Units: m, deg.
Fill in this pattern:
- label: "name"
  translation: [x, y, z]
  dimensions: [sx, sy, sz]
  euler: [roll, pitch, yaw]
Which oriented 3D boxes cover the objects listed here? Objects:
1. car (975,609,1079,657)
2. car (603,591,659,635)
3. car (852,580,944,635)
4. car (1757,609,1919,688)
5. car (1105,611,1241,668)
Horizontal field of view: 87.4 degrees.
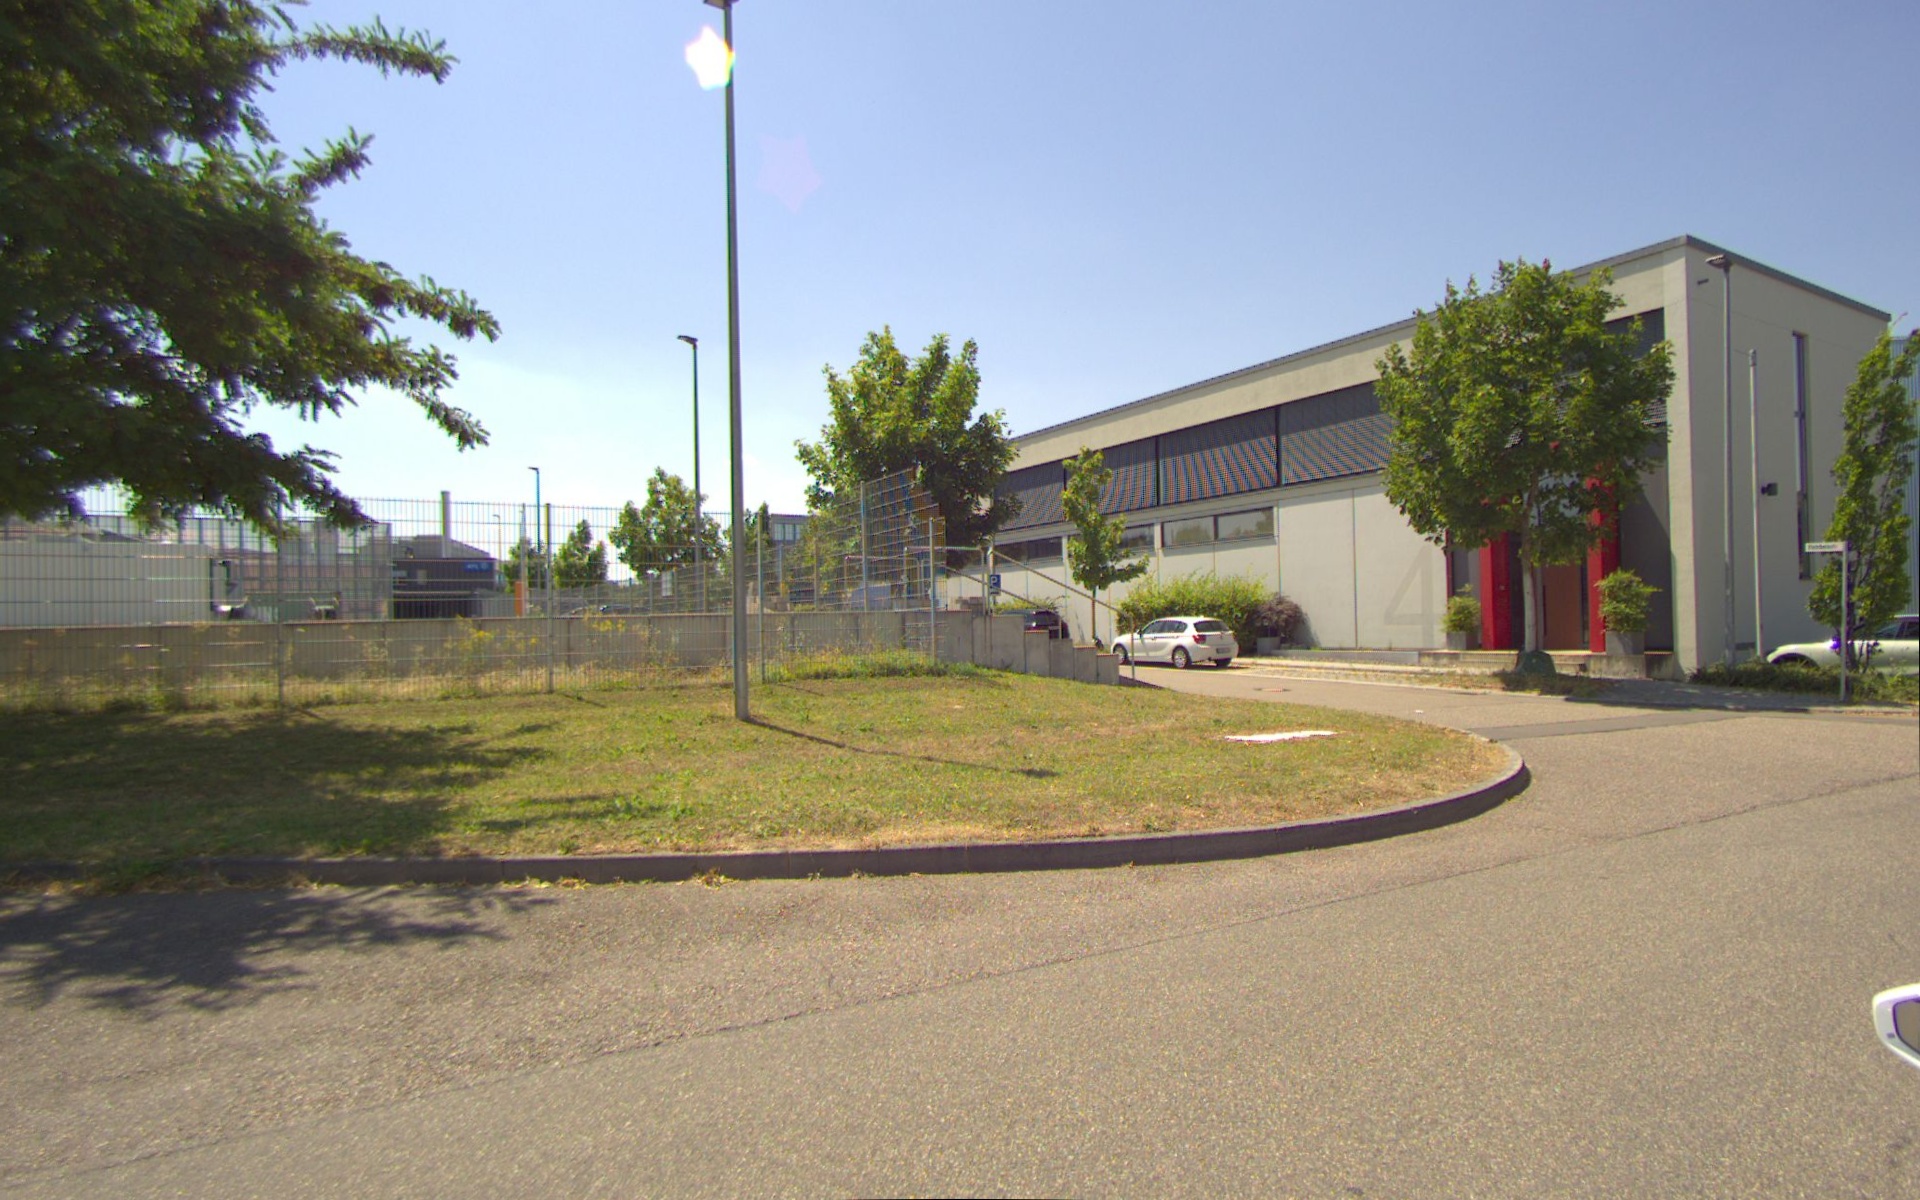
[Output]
- label: "car"
  translation: [2.401, 1.151, 36.943]
  dimensions: [1.791, 1.558, 3.964]
  euler: [-3, 1, -33]
- label: "car"
  translation: [-16.167, 0.611, 49.222]
  dimensions: [1.950, 2.040, 3.970]
  euler: [1, -1, -28]
- label: "car"
  translation: [-2.945, 0.303, 46.278]
  dimensions: [2.107, 2.303, 5.218]
  euler: [-3, 1, -30]
- label: "car"
  translation: [18.739, 0.948, 20.130]
  dimensions: [1.710, 1.514, 4.022]
  euler: [1, -1, -33]
- label: "car"
  translation: [6.160, 1.106, 29.436]
  dimensions: [1.637, 1.427, 3.982]
  euler: [-3, 1, -30]
